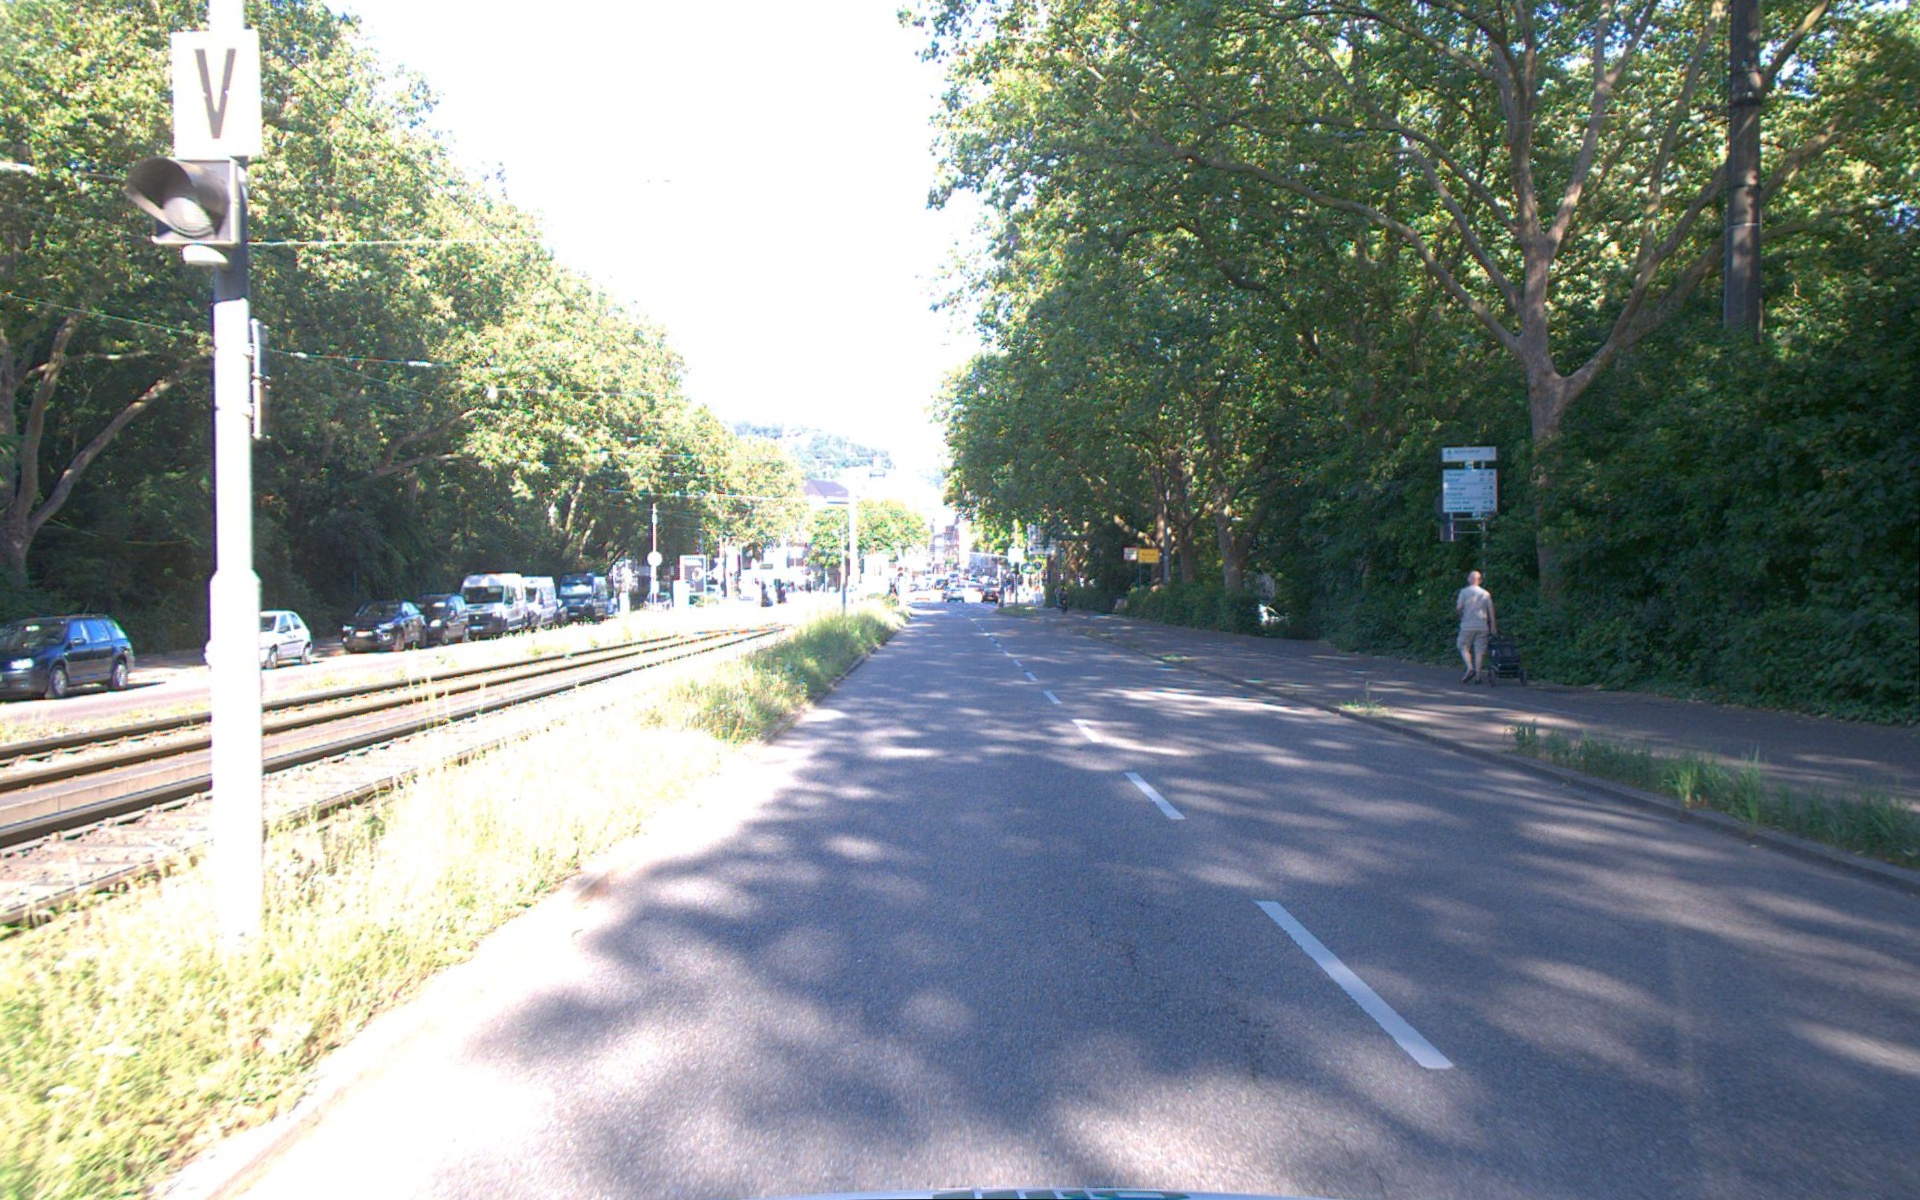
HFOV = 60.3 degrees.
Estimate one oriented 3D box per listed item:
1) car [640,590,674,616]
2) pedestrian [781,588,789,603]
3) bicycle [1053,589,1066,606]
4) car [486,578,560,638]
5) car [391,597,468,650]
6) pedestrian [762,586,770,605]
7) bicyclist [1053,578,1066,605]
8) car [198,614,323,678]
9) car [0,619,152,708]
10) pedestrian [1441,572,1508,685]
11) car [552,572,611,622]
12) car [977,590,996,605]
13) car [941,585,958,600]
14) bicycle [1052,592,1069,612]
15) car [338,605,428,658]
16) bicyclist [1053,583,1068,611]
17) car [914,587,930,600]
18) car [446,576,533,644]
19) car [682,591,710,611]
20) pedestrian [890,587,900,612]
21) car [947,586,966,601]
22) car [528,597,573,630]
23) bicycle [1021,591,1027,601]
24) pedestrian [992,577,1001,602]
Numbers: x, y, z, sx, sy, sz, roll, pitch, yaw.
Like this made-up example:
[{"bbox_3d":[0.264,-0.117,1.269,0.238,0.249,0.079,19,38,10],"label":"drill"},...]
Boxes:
[{"bbox_3d":[-20.784,0.222,113.614,1.866,1.680,3.968,-2,0,-5],"label":"car"},{"bbox_3d":[-15.839,-0.388,149.505,0.656,1.347,0.756,-3,0,-4],"label":"pedestrian"},{"bbox_3d":[6.706,-0.183,111.479,0.685,1.127,1.929,-1,0,-3],"label":"bicycle"},{"bbox_3d":[-19.903,0.353,75.563,2.141,2.564,6.265,-2,0,-5],"label":"car"},{"bbox_3d":[-18.972,0.830,59.300,1.705,1.758,3.879,-2,0,-4],"label":"car"},{"bbox_3d":[-15.618,-0.364,132.983,0.581,1.571,0.626,1,-1,-2],"label":"pedestrian"},{"bbox_3d":[6.704,-0.578,111.480,0.685,1.758,1.079,-1,0,-3],"label":"bicyclist"},{"bbox_3d":[-17.687,1.129,41.978,1.705,1.462,3.849,-2,0,-4],"label":"car"},{"bbox_3d":[-16.872,1.139,30.702,1.791,1.462,4.320,-2,0,-4],"label":"car"},{"bbox_3d":[7.850,0.422,25.264,0.635,1.664,0.927,-3,0,-1],"label":"pedestrian"},{"bbox_3d":[-20.673,-0.162,90.568,2.140,2.564,6.028,-2,0,-4],"label":"car"},{"bbox_3d":[2.751,-0.240,172.879,1.764,1.464,4.043,1,1,-2],"label":"car"},{"bbox_3d":[-1.232,-0.856,185.015,1.764,1.666,4.043,0,1,-3],"label":"car"},{"bbox_3d":[5.763,0.117,94.750,0.751,1.127,1.799,0,1,-2],"label":"bicycle"},{"bbox_3d":[-18.433,0.979,52.984,1.705,1.582,3.879,-2,0,-4],"label":"car"},{"bbox_3d":[5.758,-0.177,94.753,0.751,1.539,0.650,0,0,-3],"label":"bicyclist"},{"bbox_3d":[-4.288,-0.778,186.751,1.772,1.478,3.998,0,0,-3],"label":"car"},{"bbox_3d":[-19.178,0.386,67.686,2.140,2.564,6.045,-2,0,-4],"label":"car"},{"bbox_3d":[-21.411,0.093,134.336,1.759,1.536,4.338,-2,0,-4],"label":"car"},{"bbox_3d":[-4.086,-0.038,104.027,0.578,1.546,0.514,-3,0,-2],"label":"pedestrian"},{"bbox_3d":[-0.411,-0.696,177.776,1.890,1.498,4.853,0,1,-2],"label":"car"},{"bbox_3d":[-20.343,0.666,82.183,1.620,1.539,3.262,-2,0,-5],"label":"car"},{"bbox_3d":[7.286,-0.490,188.374,0.488,1.093,1.799,1,0,-2],"label":"bicycle"},{"bbox_3d":[2.808,-0.838,128.225,0.643,1.903,0.677,0,0,-3],"label":"pedestrian"}]
